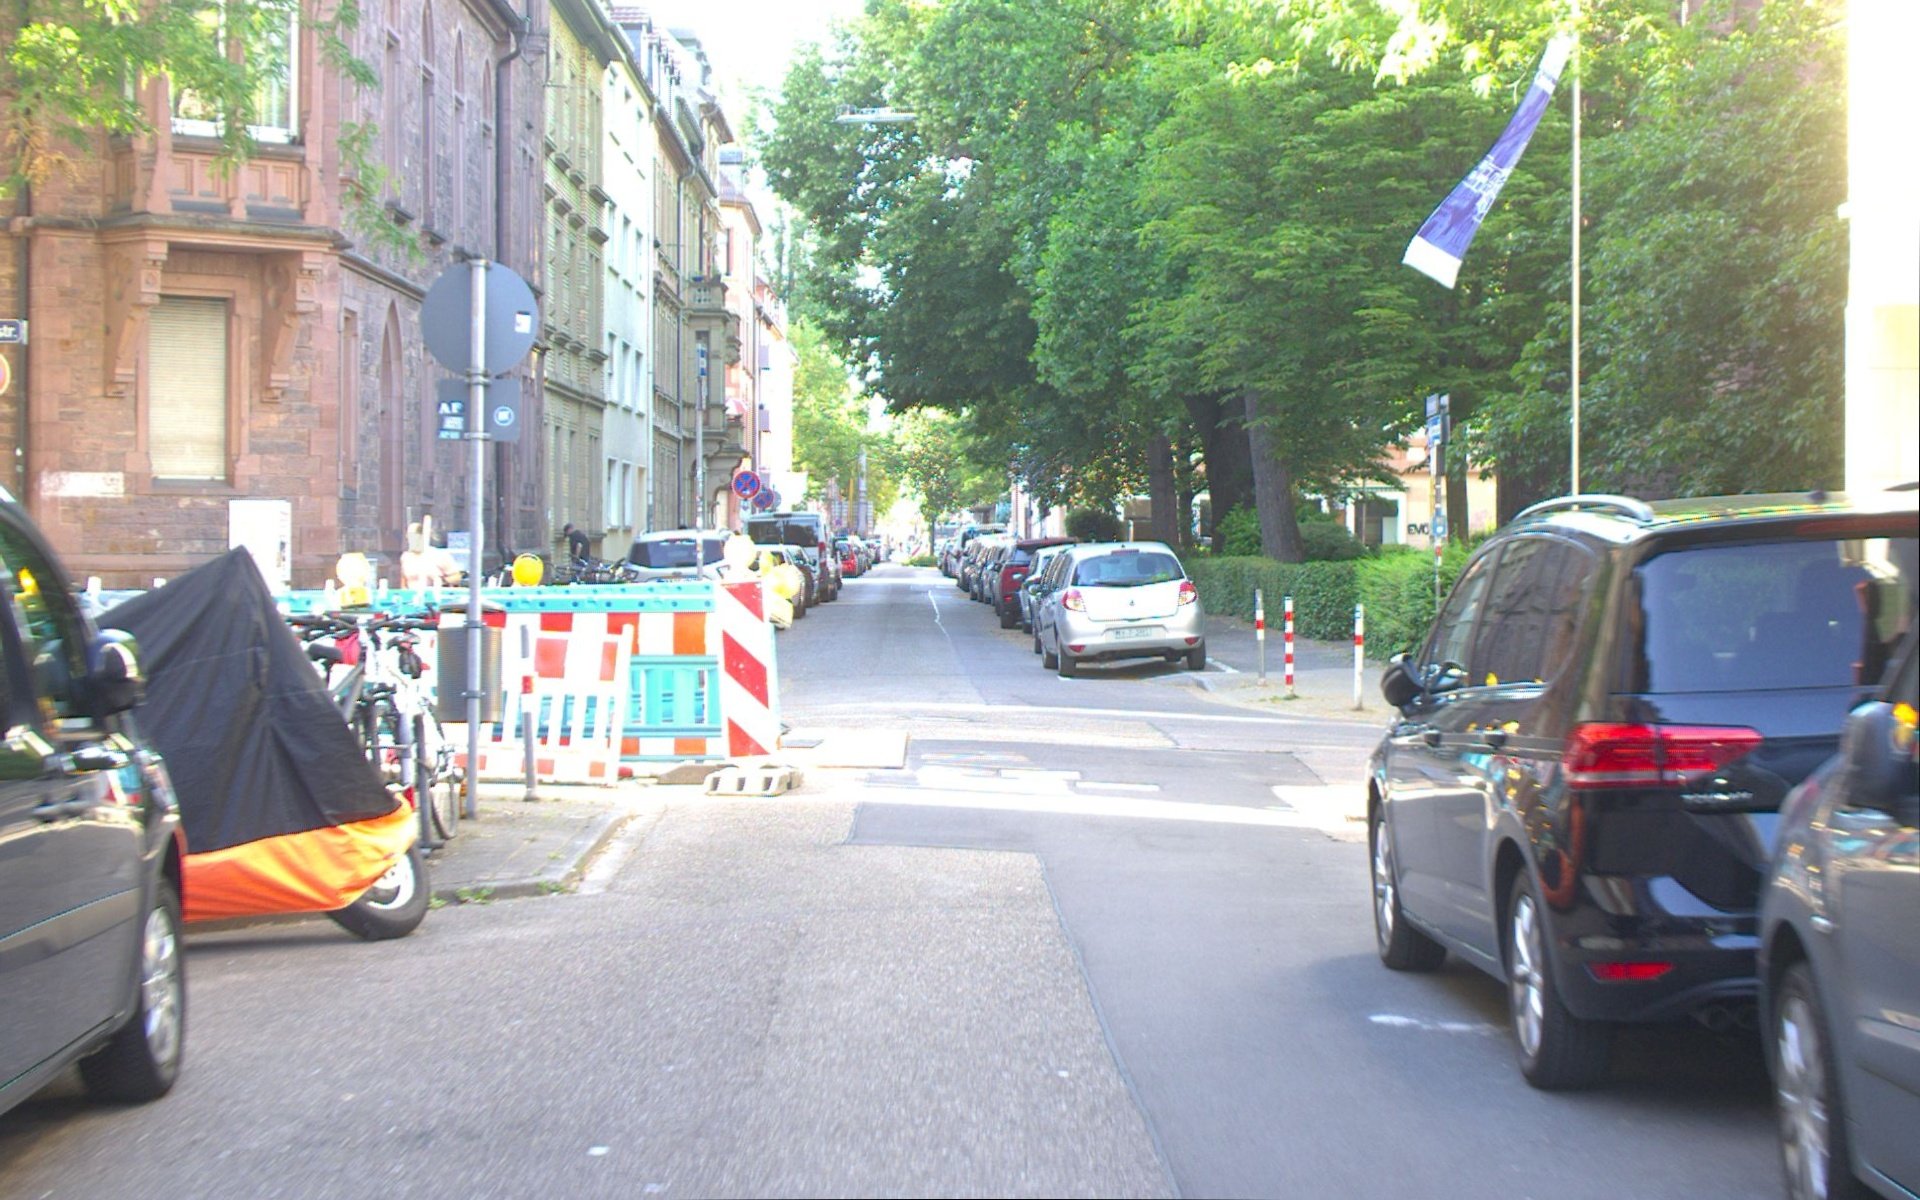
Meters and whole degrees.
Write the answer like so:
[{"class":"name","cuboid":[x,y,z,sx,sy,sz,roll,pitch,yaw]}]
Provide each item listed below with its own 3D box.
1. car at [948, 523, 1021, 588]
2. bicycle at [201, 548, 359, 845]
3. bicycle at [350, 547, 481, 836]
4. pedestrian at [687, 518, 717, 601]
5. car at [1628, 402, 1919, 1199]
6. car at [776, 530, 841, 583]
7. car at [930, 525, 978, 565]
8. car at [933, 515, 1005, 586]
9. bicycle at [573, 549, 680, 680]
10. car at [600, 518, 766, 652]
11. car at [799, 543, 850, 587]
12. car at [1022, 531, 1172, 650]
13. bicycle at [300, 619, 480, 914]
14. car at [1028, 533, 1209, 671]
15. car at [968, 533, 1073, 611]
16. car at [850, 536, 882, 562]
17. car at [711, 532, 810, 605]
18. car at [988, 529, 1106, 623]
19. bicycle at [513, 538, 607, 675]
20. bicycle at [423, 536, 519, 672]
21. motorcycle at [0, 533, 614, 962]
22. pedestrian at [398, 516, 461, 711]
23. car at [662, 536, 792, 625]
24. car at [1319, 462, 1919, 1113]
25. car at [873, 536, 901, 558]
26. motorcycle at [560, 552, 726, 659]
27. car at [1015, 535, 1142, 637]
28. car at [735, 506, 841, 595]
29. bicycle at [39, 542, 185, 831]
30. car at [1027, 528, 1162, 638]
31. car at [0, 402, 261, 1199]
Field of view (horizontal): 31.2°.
[{"class":"car","cuboid":[0.647,-1.229,93.057,1.829,1.698,4.000,1,1,-2]},{"class":"bicycle","cuboid":[-3.086,0.403,15.719,0.399,1.223,1.874,0,3,-2]},{"class":"bicycle","cuboid":[-2.496,0.391,15.851,0.399,1.223,1.505,0,3,-2]},{"class":"pedestrian","cuboid":[-6.311,-0.983,83.960,0.684,2.007,0.692,0,0,-8]},{"class":"car","cuboid":[2.607,0.501,6.199,1.753,1.780,4.724,-2,2,-1]},{"class":"car","cuboid":[-4.613,-1.329,105.054,1.902,1.568,4.000,0,1,-2]},{"class":"car","cuboid":[-0.274,-2.388,149.380,1.993,1.722,4.000,0,1,-1]},{"class":"car","cuboid":[0.272,-1.619,111.909,2.160,2.248,4.526,0,1,-2]},{"class":"bicycle","cuboid":[-3.574,0.134,36.640,0.682,1.340,2.503,0,1,-16]},{"class":"car","cuboid":[-3.686,-0.219,46.366,1.882,1.701,4.000,-1,1,0]},{"class":"car","cuboid":[-5.304,-1.379,134.613,1.950,1.703,4.000,0,1,-2]},{"class":"car","cuboid":[1.790,-0.144,45.905,1.723,1.517,4.000,0,1,-2]},{"class":"bicycle","cuboid":[-2.433,0.682,14.801,0.425,1.136,1.666,3,1,1]},{"class":"car","cuboid":[1.810,-0.019,40.374,1.723,1.517,4.001,0,1,-3]},{"class":"car","cuboid":[1.223,-0.592,71.440,1.993,1.568,4.000,0,1,-2]},{"class":"car","cuboid":[-6.084,-3.287,223.065,1.993,1.641,4.000,0,1,-1]},{"class":"car","cuboid":[-3.857,-0.633,67.106,1.771,1.349,4.000,1,1,-1]},{"class":"car","cuboid":[1.532,-0.441,61.567,1.894,1.619,4.000,0,1,-1]},{"class":"bicycle","cuboid":[-4.283,0.046,36.682,0.572,1.418,2.503,0,1,-16]},{"class":"bicycle","cuboid":[-5.260,0.019,37.121,0.683,1.418,2.798,0,1,-1]},{"class":"motorcycle","cuboid":[-2.629,0.505,12.728,2.511,1.477,0.904,0,1,-27]},{"class":"pedestrian","cuboid":[-4.776,0.119,30.957,0.524,1.734,0.558,0,1,-5]},{"class":"car","cuboid":[-3.857,-0.344,57.421,1.882,1.406,4.000,-1,1,0]},{"class":"car","cuboid":[2.359,0.449,10.858,1.900,1.634,4.391,0,1,-1]},{"class":"car","cuboid":[-5.396,-3.895,253.988,1.993,1.641,4.000,0,1,-1]},{"class":"motorcycle","cuboid":[-3.701,0.048,39.992,0.664,1.203,2.310,0,1,-42]},{"class":"car","cuboid":[1.919,-0.263,56.740,1.841,1.590,4.000,1,1,-1]},{"class":"car","cuboid":[-4.183,-1.202,84.412,2.309,2.107,5.170,0,1,0]},{"class":"bicycle","cuboid":[-3.929,0.369,16.000,0.294,1.223,1.700,0,3,-1]},{"class":"car","cuboid":[1.978,-0.269,51.548,1.741,1.568,4.000,0,1,-2]},{"class":"car","cuboid":[-2.786,0.480,7.659,1.818,1.760,4.336,0,1,-4]}]
